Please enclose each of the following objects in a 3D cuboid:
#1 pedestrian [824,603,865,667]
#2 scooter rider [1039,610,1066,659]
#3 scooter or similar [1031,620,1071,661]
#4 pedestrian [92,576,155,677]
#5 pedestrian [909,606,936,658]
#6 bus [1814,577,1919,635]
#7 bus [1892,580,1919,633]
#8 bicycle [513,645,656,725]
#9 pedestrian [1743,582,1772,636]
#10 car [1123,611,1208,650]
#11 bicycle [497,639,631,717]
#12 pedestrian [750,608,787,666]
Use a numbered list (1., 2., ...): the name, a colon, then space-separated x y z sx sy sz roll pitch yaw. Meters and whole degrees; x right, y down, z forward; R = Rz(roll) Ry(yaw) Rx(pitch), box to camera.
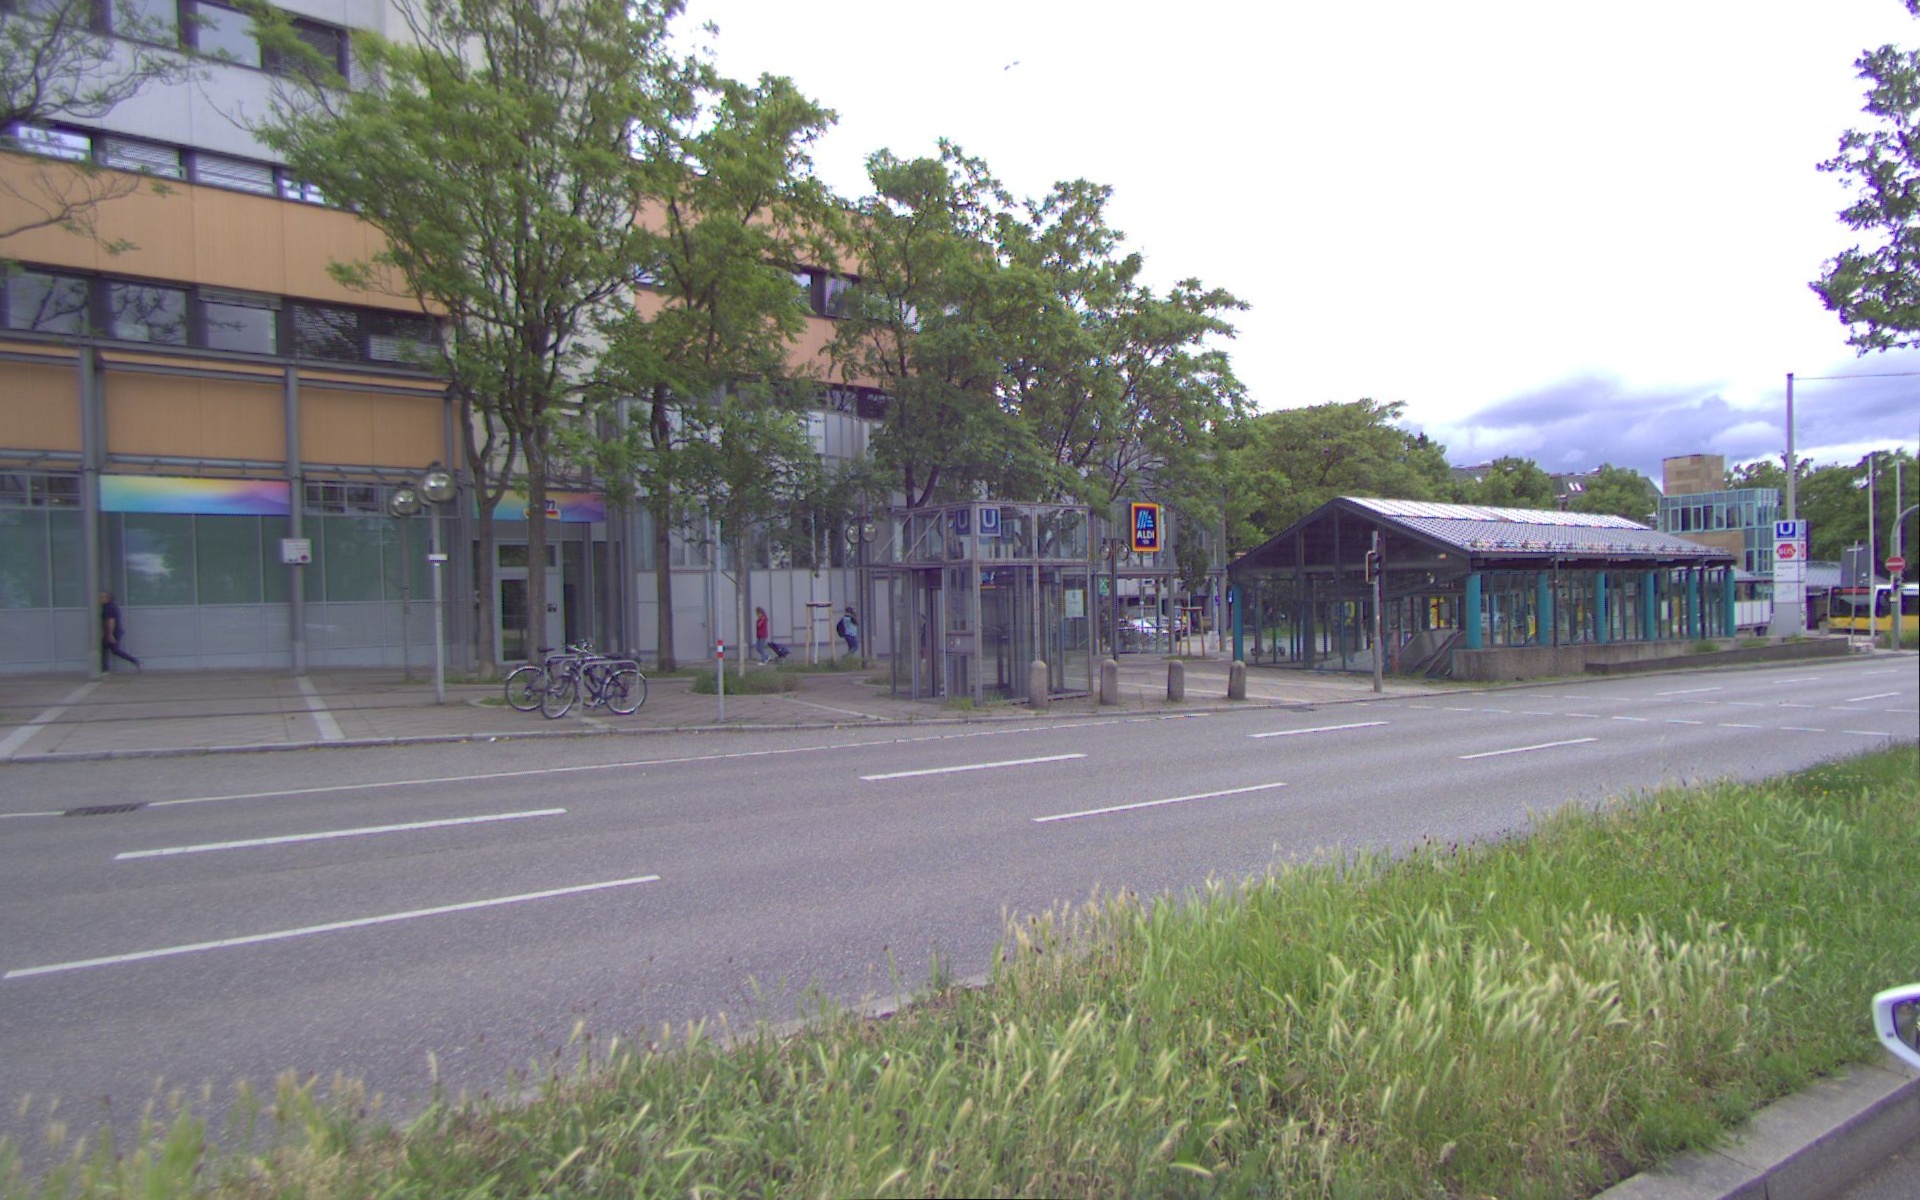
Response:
1. pedestrian: -3.271 0.969 28.485 0.879 1.739 0.764 0 2 -39
2. scooter rider: 3.031 1.117 32.918 0.699 1.566 0.522 0 2 -33
3. scooter or similar: 2.994 1.327 32.908 1.274 1.284 0.477 0 2 -33
4. pedestrian: -17.391 0.541 20.896 0.925 2.040 0.890 0 -1 -35
5. pedestrian: -1.181 1.002 31.580 0.674 1.610 0.513 0 0 -38
6. bus: 59.012 0.398 64.131 10.589 3.476 2.823 0 -1 -26
7. bus: 67.991 0.454 68.516 10.589 3.476 2.823 0 -1 -26
8. bicycle: -5.836 1.284 15.677 1.923 1.098 0.822 0 -1 -44
9. pedestrian: 30.328 0.344 38.206 0.639 2.040 0.677 0 -1 -34
10. car: 10.280 1.514 50.575 1.979 1.862 3.962 0 -1 -34
11. bicycle: -6.501 1.242 16.559 1.944 1.152 0.706 0 -1 -45
12. pedestrian: -5.389 1.036 28.208 0.819 1.607 0.629 0 -1 -40
